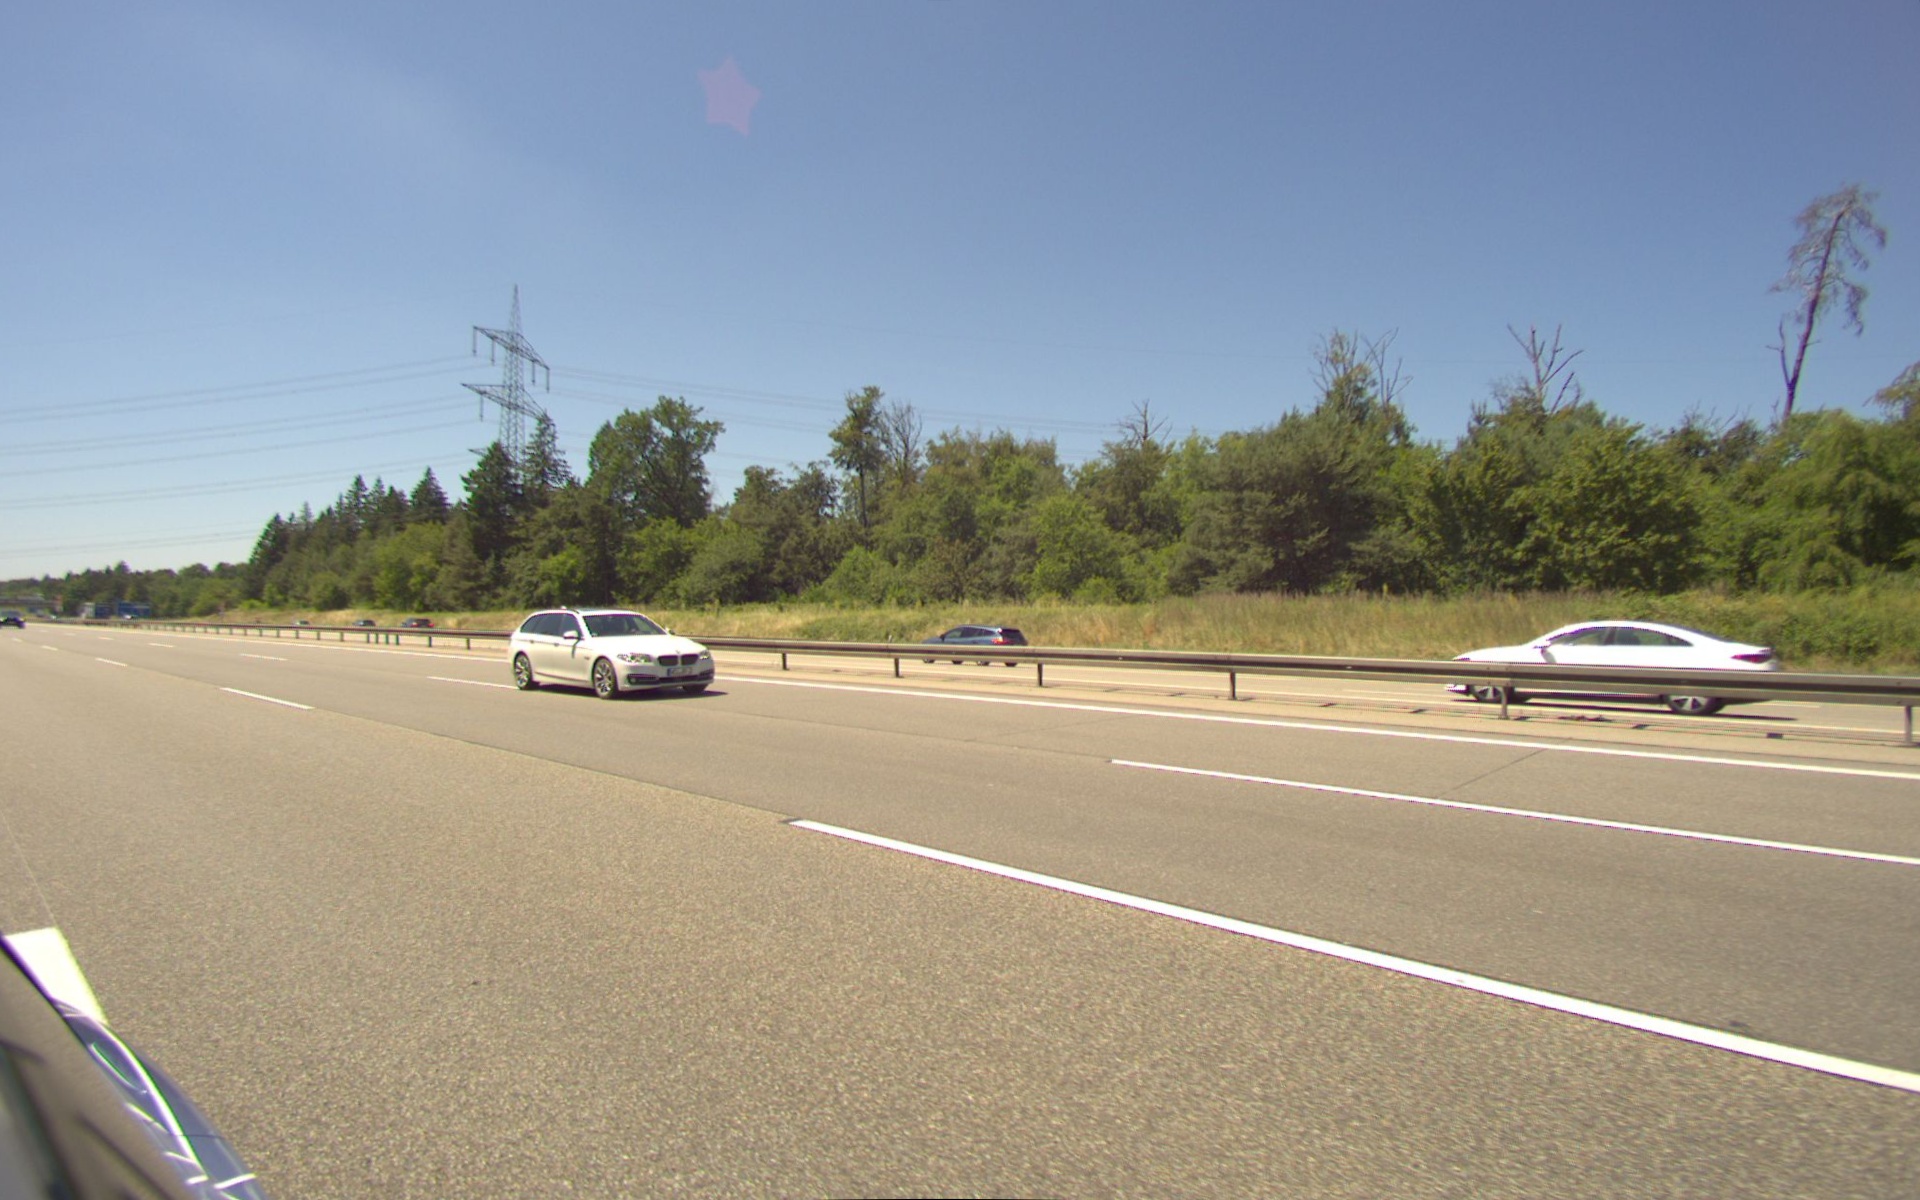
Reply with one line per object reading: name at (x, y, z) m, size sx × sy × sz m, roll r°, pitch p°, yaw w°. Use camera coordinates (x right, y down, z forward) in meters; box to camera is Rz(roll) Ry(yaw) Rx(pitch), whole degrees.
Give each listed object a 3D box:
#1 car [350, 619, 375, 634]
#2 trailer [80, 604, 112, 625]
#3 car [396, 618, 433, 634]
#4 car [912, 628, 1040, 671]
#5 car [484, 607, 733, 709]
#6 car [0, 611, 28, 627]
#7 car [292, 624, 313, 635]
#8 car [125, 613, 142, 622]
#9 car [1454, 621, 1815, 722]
car at (-67.278, 2.963, 113.979) m, size 1.540 × 1.539 × 4.003 m, roll -1°, pitch 0°, yaw -44°
trailer at (-175.981, 2.895, 205.980) m, size 13.981 × 4.204 × 3.168 m, roll 0°, pitch -2°, yaw 42°
car at (-51.056, 2.427, 94.673) m, size 4.438 × 1.431 × 1.769 m, roll 0°, pitch 0°, yaw 44°
car at (0.523, 1.763, 36.354) m, size 4.676 × 1.402 × 1.672 m, roll -1°, pitch -3°, yaw 43°
car at (-6.409, 0.904, 18.040) m, size 5.405 × 1.515 × 1.942 m, roll 0°, pitch 0°, yaw 43°
car at (-89.507, 1.747, 95.674) m, size 1.872 × 1.436 × 4.264 m, roll 0°, pitch 0°, yaw -44°
car at (-87.101, 3.877, 134.025) m, size 3.567 × 1.488 × 1.603 m, roll -1°, pitch -1°, yaw 44°
car at (-124.063, 2.677, 151.841) m, size 3.567 × 1.366 × 1.545 m, roll -1°, pitch -1°, yaw 44°
car at (10.765, 1.077, 16.425) m, size 4.676 × 1.402 × 1.672 m, roll -1°, pitch -3°, yaw 43°
